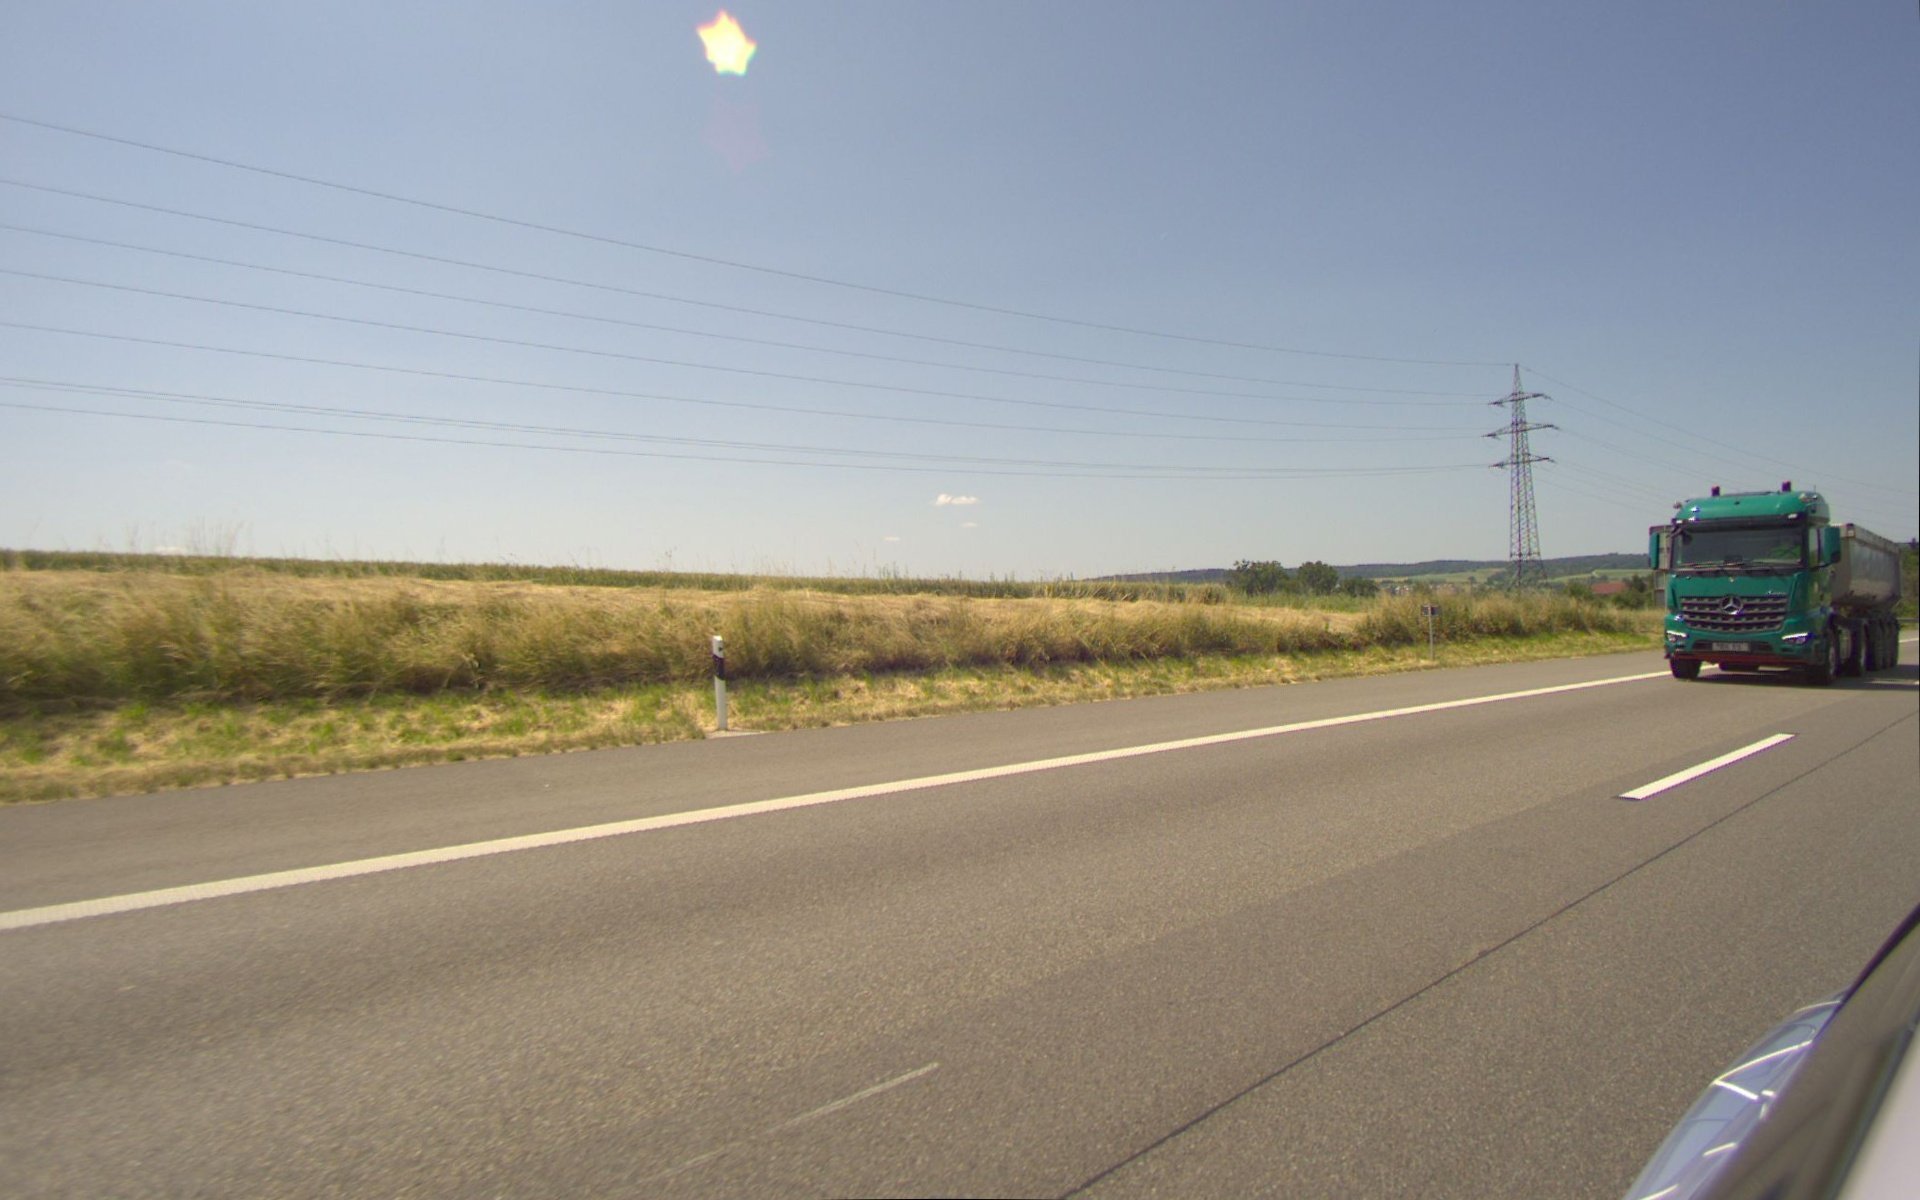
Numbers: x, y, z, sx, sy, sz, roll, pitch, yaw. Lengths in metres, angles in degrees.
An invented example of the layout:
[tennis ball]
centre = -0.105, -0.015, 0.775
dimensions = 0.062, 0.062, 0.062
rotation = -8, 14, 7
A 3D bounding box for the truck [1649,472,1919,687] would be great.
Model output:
[truck]
centre = 19.216, -0.395, 22.996
dimensions = 12.541, 3.770, 2.870
rotation = 0, 0, -41
